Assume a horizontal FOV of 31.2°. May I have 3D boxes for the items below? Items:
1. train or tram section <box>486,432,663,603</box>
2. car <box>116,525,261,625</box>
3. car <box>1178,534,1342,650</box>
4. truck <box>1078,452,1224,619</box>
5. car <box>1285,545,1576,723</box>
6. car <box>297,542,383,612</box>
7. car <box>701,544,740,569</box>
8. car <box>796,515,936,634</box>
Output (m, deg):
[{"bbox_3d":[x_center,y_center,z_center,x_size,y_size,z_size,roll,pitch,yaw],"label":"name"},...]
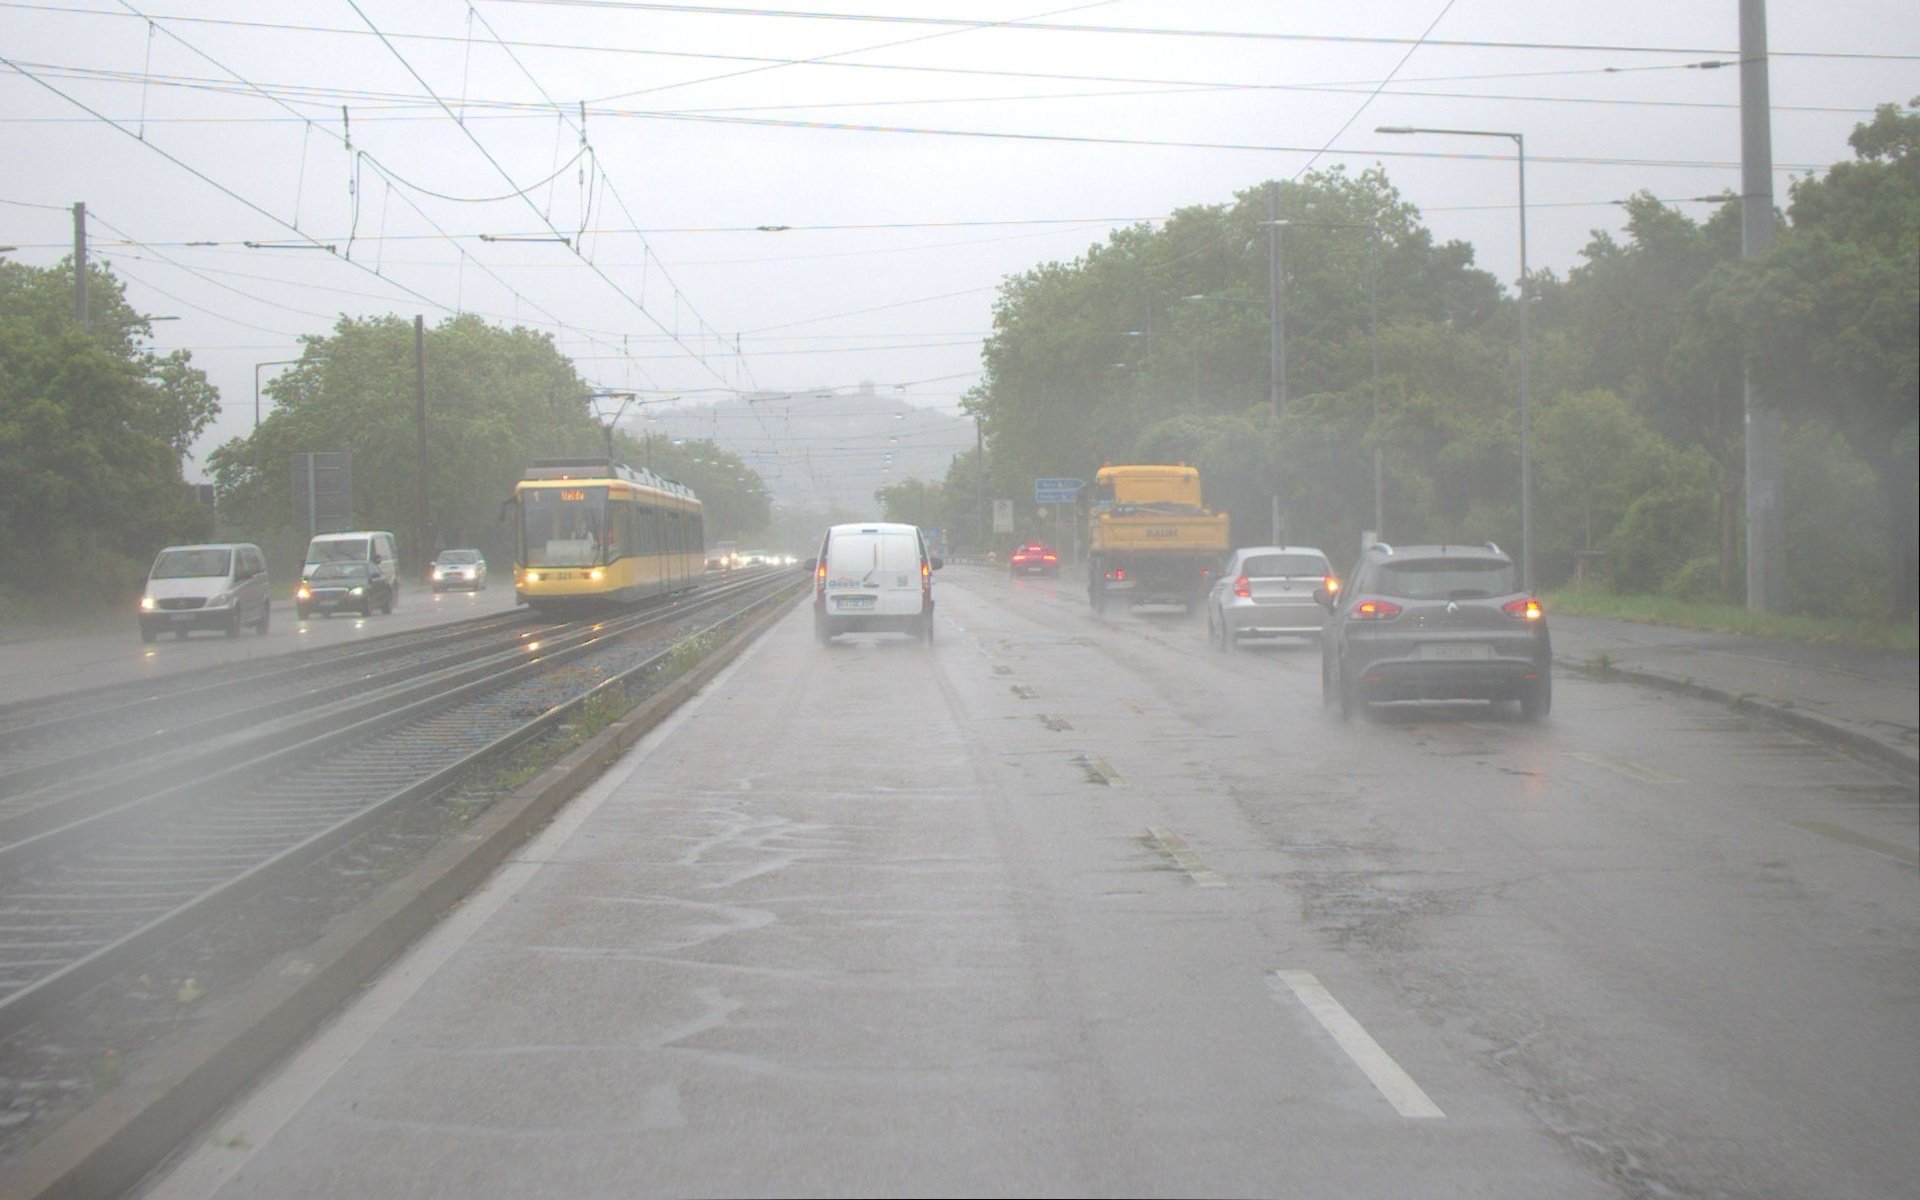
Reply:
[{"bbox_3d":[-9.144,-2.071,83.561,2.864,3.693,17.893,0,2,-2],"label":"train or tram section"},{"bbox_3d":[-15.347,-0.535,68.609,1.888,1.878,4.622,0,2,0],"label":"car"},{"bbox_3d":[4.170,-0.150,48.476,1.626,1.498,4.607,0,2,-4],"label":"car"},{"bbox_3d":[3.829,-1.361,70.252,2.555,3.246,6.933,0,2,0],"label":"truck"},{"bbox_3d":[3.969,0.241,29.659,1.888,1.352,4.277,0,2,0],"label":"car"},{"bbox_3d":[-16.142,-0.614,89.674,1.667,1.717,3.733,0,2,-2],"label":"car"},{"bbox_3d":[-15.760,-2.850,226.215,1.993,1.459,5.251,-3,2,1],"label":"car"},{"bbox_3d":[-1.368,-0.405,51.278,1.989,1.678,3.740,0,2,0],"label":"car"}]
